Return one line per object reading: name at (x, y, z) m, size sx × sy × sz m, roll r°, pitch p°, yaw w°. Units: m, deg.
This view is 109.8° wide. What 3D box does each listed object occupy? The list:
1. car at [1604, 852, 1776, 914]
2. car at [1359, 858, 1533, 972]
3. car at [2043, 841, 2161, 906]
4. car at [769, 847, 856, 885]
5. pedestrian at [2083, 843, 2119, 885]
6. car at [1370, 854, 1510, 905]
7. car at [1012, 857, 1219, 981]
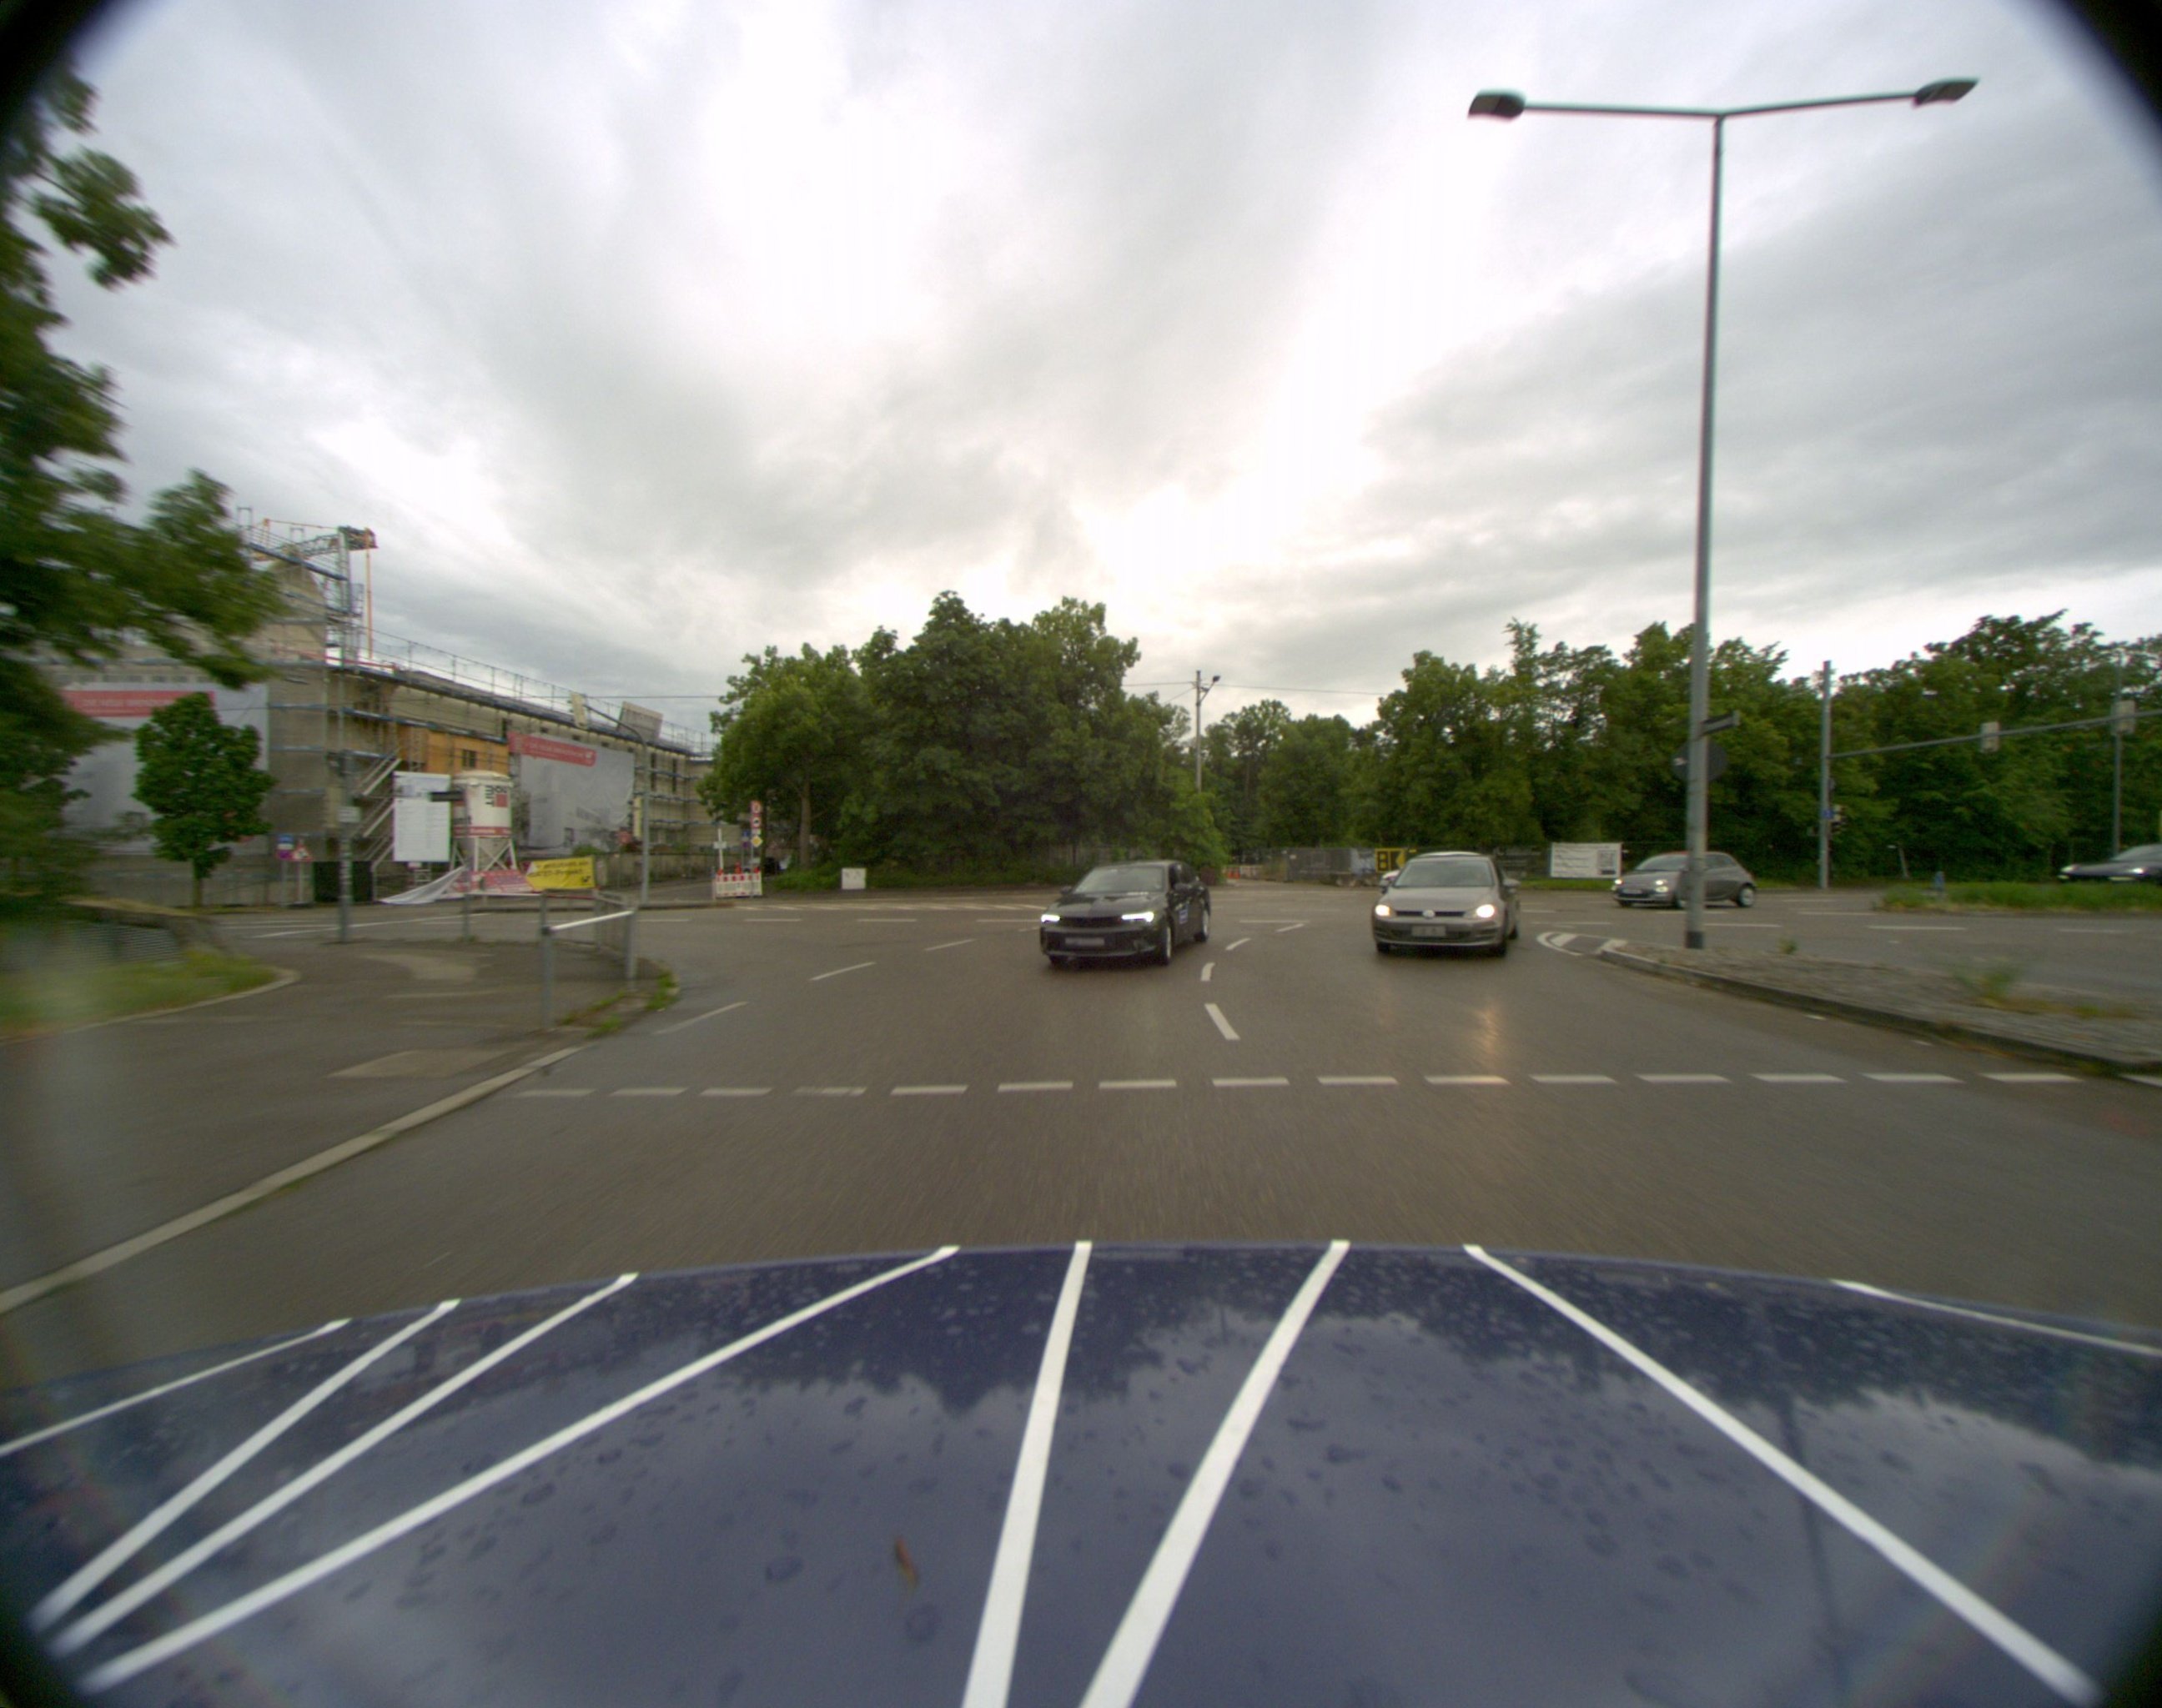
car at (16.133, 0.722, 20.191) m, size 3.658 × 1.521 × 1.669 m, roll -1°, pitch 0°, yaw -13°
car at (5.858, 0.810, 11.930) m, size 1.901 × 1.431 × 4.008 m, roll -1°, pitch -1°, yaw 34°
car at (30.546, 0.534, 21.583) m, size 3.997 × 1.761 × 1.907 m, roll 0°, pitch 0°, yaw 0°
car at (-14.753, 0.607, 41.845) m, size 4.008 × 2.002 × 1.994 m, roll 0°, pitch 1°, yaw -44°
pedestrian at (46.504, 0.446, 34.659) m, size 0.699 × 1.872 × 0.677 m, roll 0°, pitch 1°, yaw 1°
car at (11.030, 0.774, 23.522) m, size 3.576 × 1.512 × 1.646 m, roll 0°, pitch 0°, yaw 1°
car at (0.789, 0.870, 12.050) m, size 1.801 × 1.422 × 4.526 m, roll -2°, pitch 1°, yaw 22°
